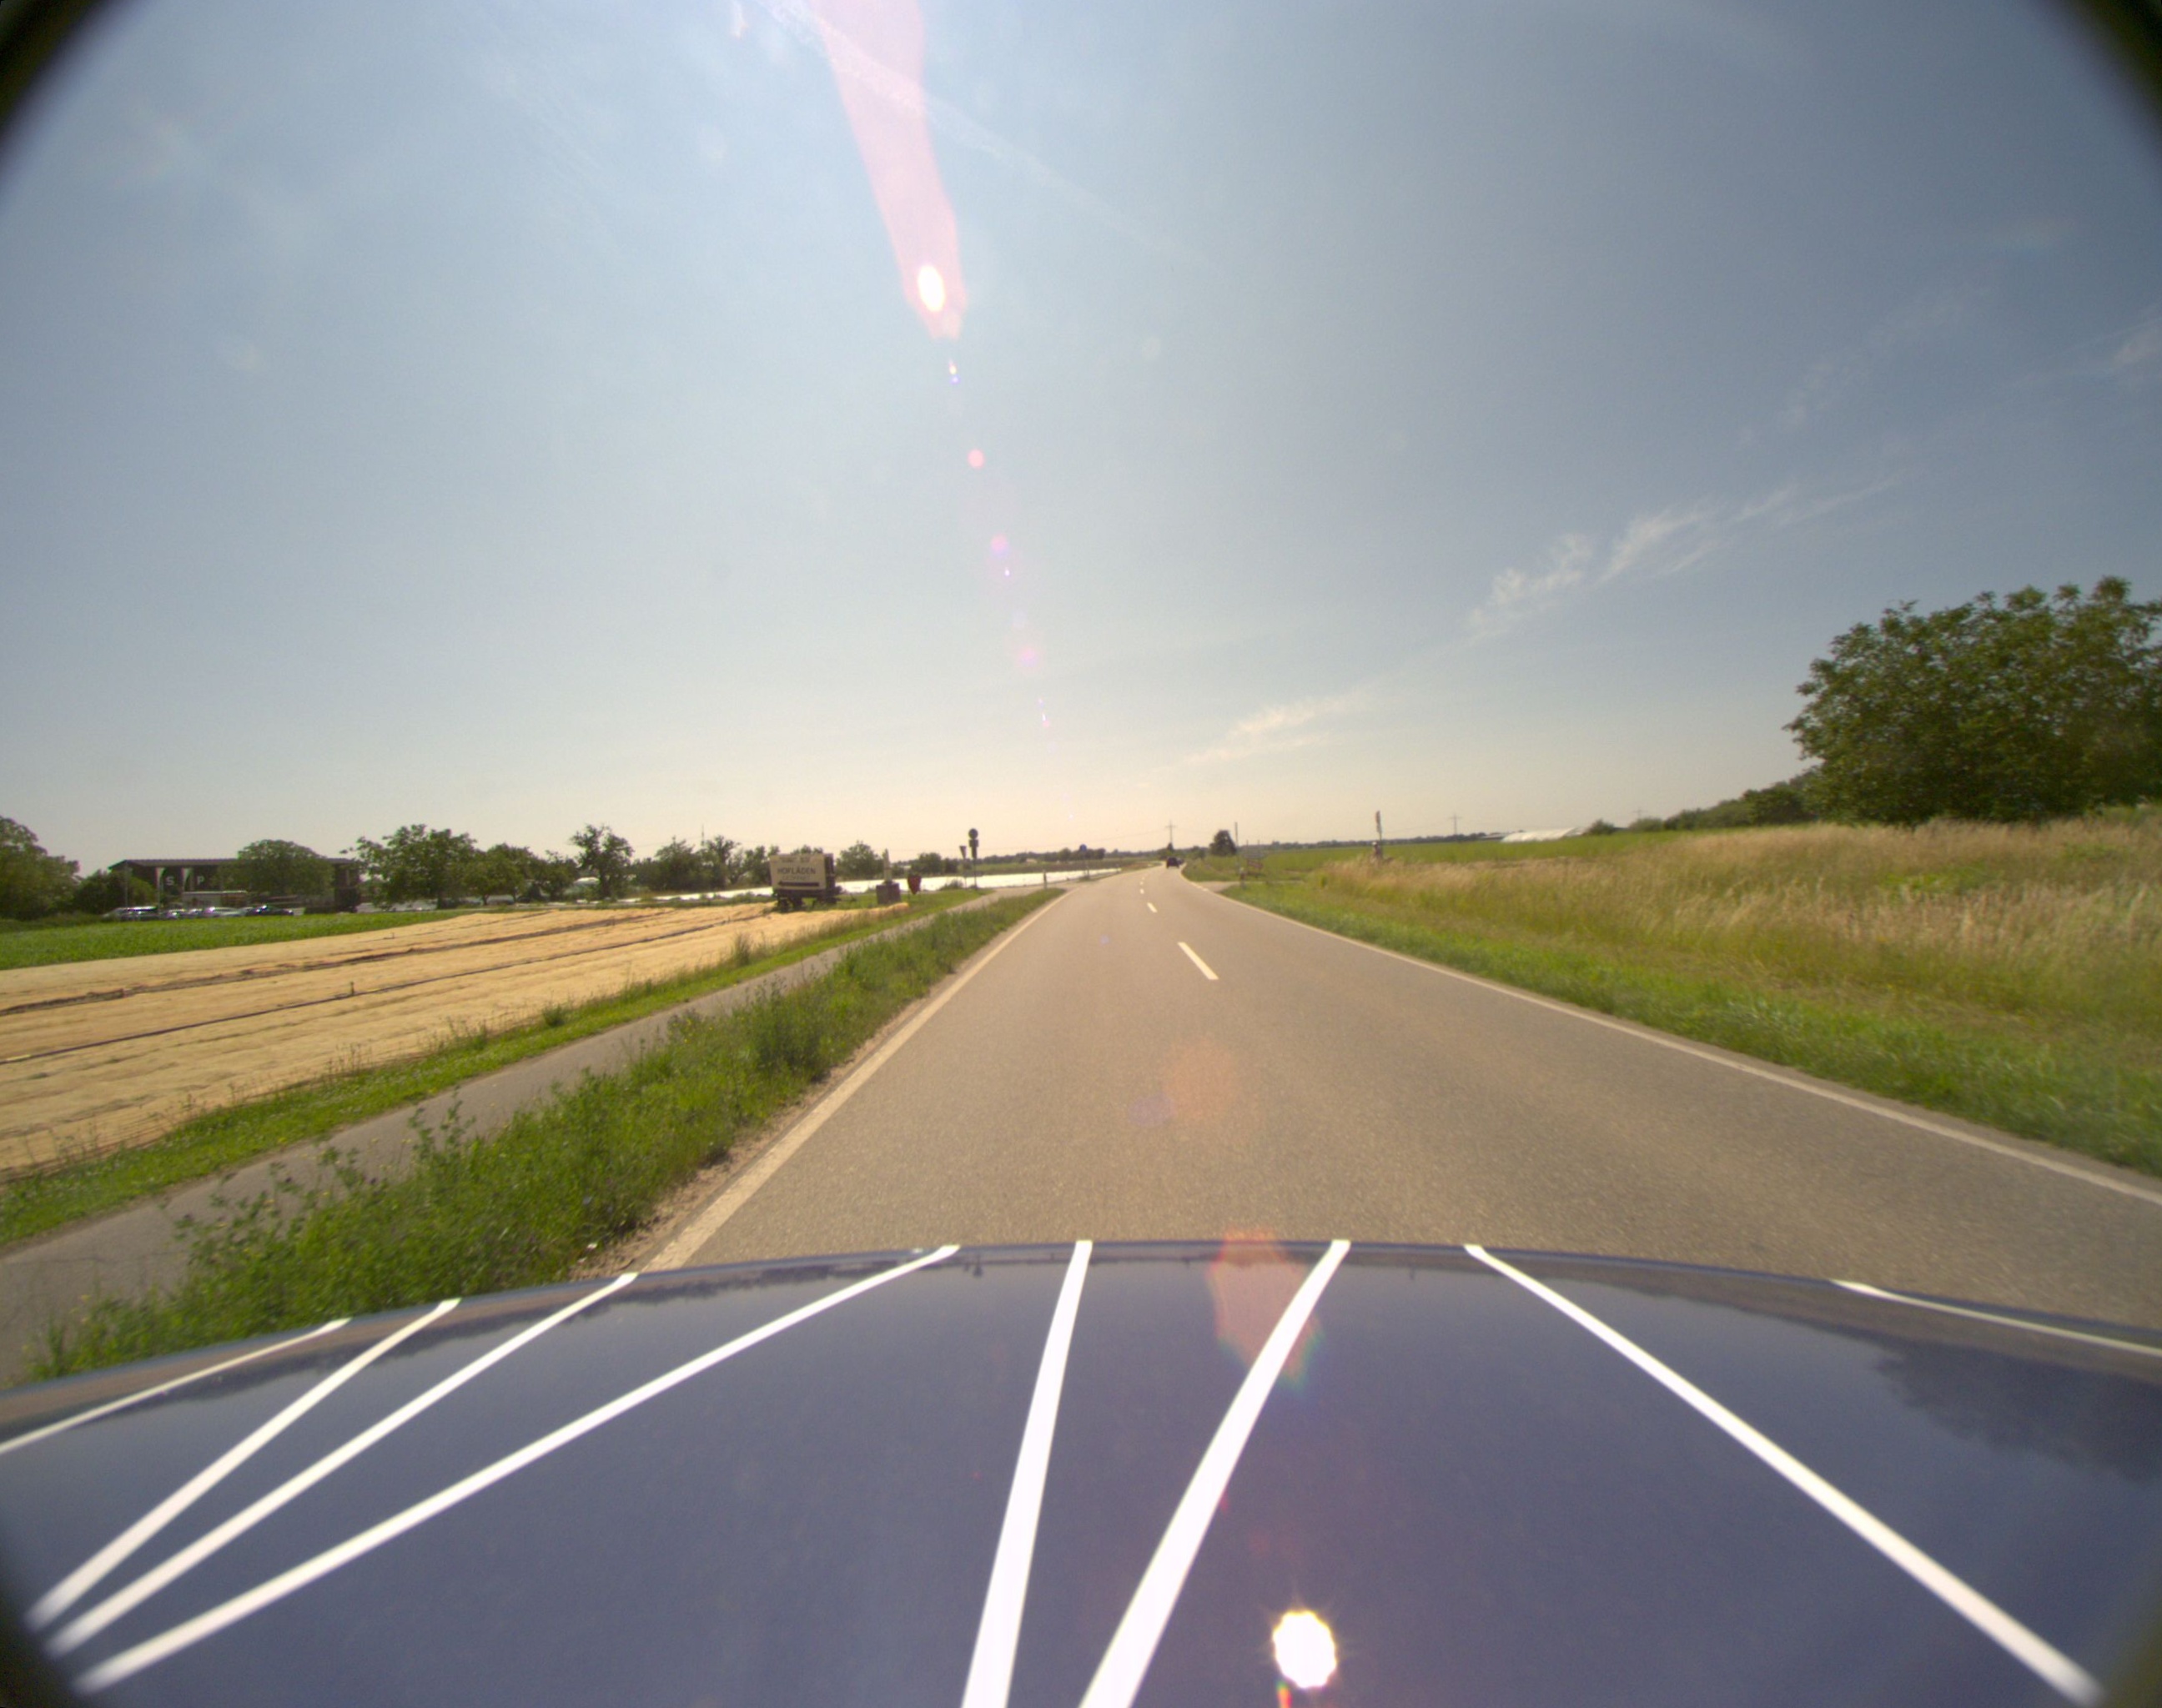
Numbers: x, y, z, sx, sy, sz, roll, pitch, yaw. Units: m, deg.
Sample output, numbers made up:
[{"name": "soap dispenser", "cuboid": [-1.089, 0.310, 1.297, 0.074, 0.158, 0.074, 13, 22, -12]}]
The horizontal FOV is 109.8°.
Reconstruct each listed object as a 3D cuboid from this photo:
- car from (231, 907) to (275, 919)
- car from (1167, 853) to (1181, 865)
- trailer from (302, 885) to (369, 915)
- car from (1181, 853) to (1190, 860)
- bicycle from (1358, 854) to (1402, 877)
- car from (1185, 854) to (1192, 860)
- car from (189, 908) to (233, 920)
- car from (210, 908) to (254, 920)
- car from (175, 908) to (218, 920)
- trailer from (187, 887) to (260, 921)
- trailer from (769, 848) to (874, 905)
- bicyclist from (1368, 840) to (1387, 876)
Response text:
[{"name": "car", "cuboid": [-99.287, 7.085, 91.151, 1.294, 1.190, 3.283, -3, 0, 14]}, {"name": "car", "cuboid": [14.119, 0.808, 115.345, 1.937, 1.741, 5.207, -1, 0, 8]}, {"name": "trailer", "cuboid": [-93.944, 5.794, 95.744, 7.424, 3.274, 3.264, -4, 1, 23]}, {"name": "car", "cuboid": [21.772, 0.460, 158.430, 1.745, 1.349, 4.421, -2, 0, 8]}, {"name": "bicycle", "cuboid": [14.904, 0.577, 37.875, 1.921, 0.986, 0.683, -4, 1, 16]}, {"name": "car", "cuboid": [26.532, 0.731, 187.444, 1.743, 1.523, 4.144, -2, 0, 8]}, {"name": "car", "cuboid": [-107.554, 7.406, 93.927, 1.294, 1.190, 3.283, -3, 0, 14]}, {"name": "car", "cuboid": [-102.109, 7.196, 91.402, 1.294, 1.190, 3.283, -3, 0, 14]}, {"name": "car", "cuboid": [-110.308, 7.514, 94.789, 1.294, 1.190, 3.283, -3, 0, 14]}, {"name": "trailer", "cuboid": [-119.915, 6.955, 106.326, 7.430, 4.197, 3.160, -4, 1, 10]}, {"name": "trailer", "cuboid": [-14.545, 1.262, 42.630, 5.285, 2.936, 2.002, -2, 2, 17]}, {"name": "bicyclist", "cuboid": [14.778, 0.196, 37.899, 0.700, 1.747, 0.663, -3, 1, 16]}]
